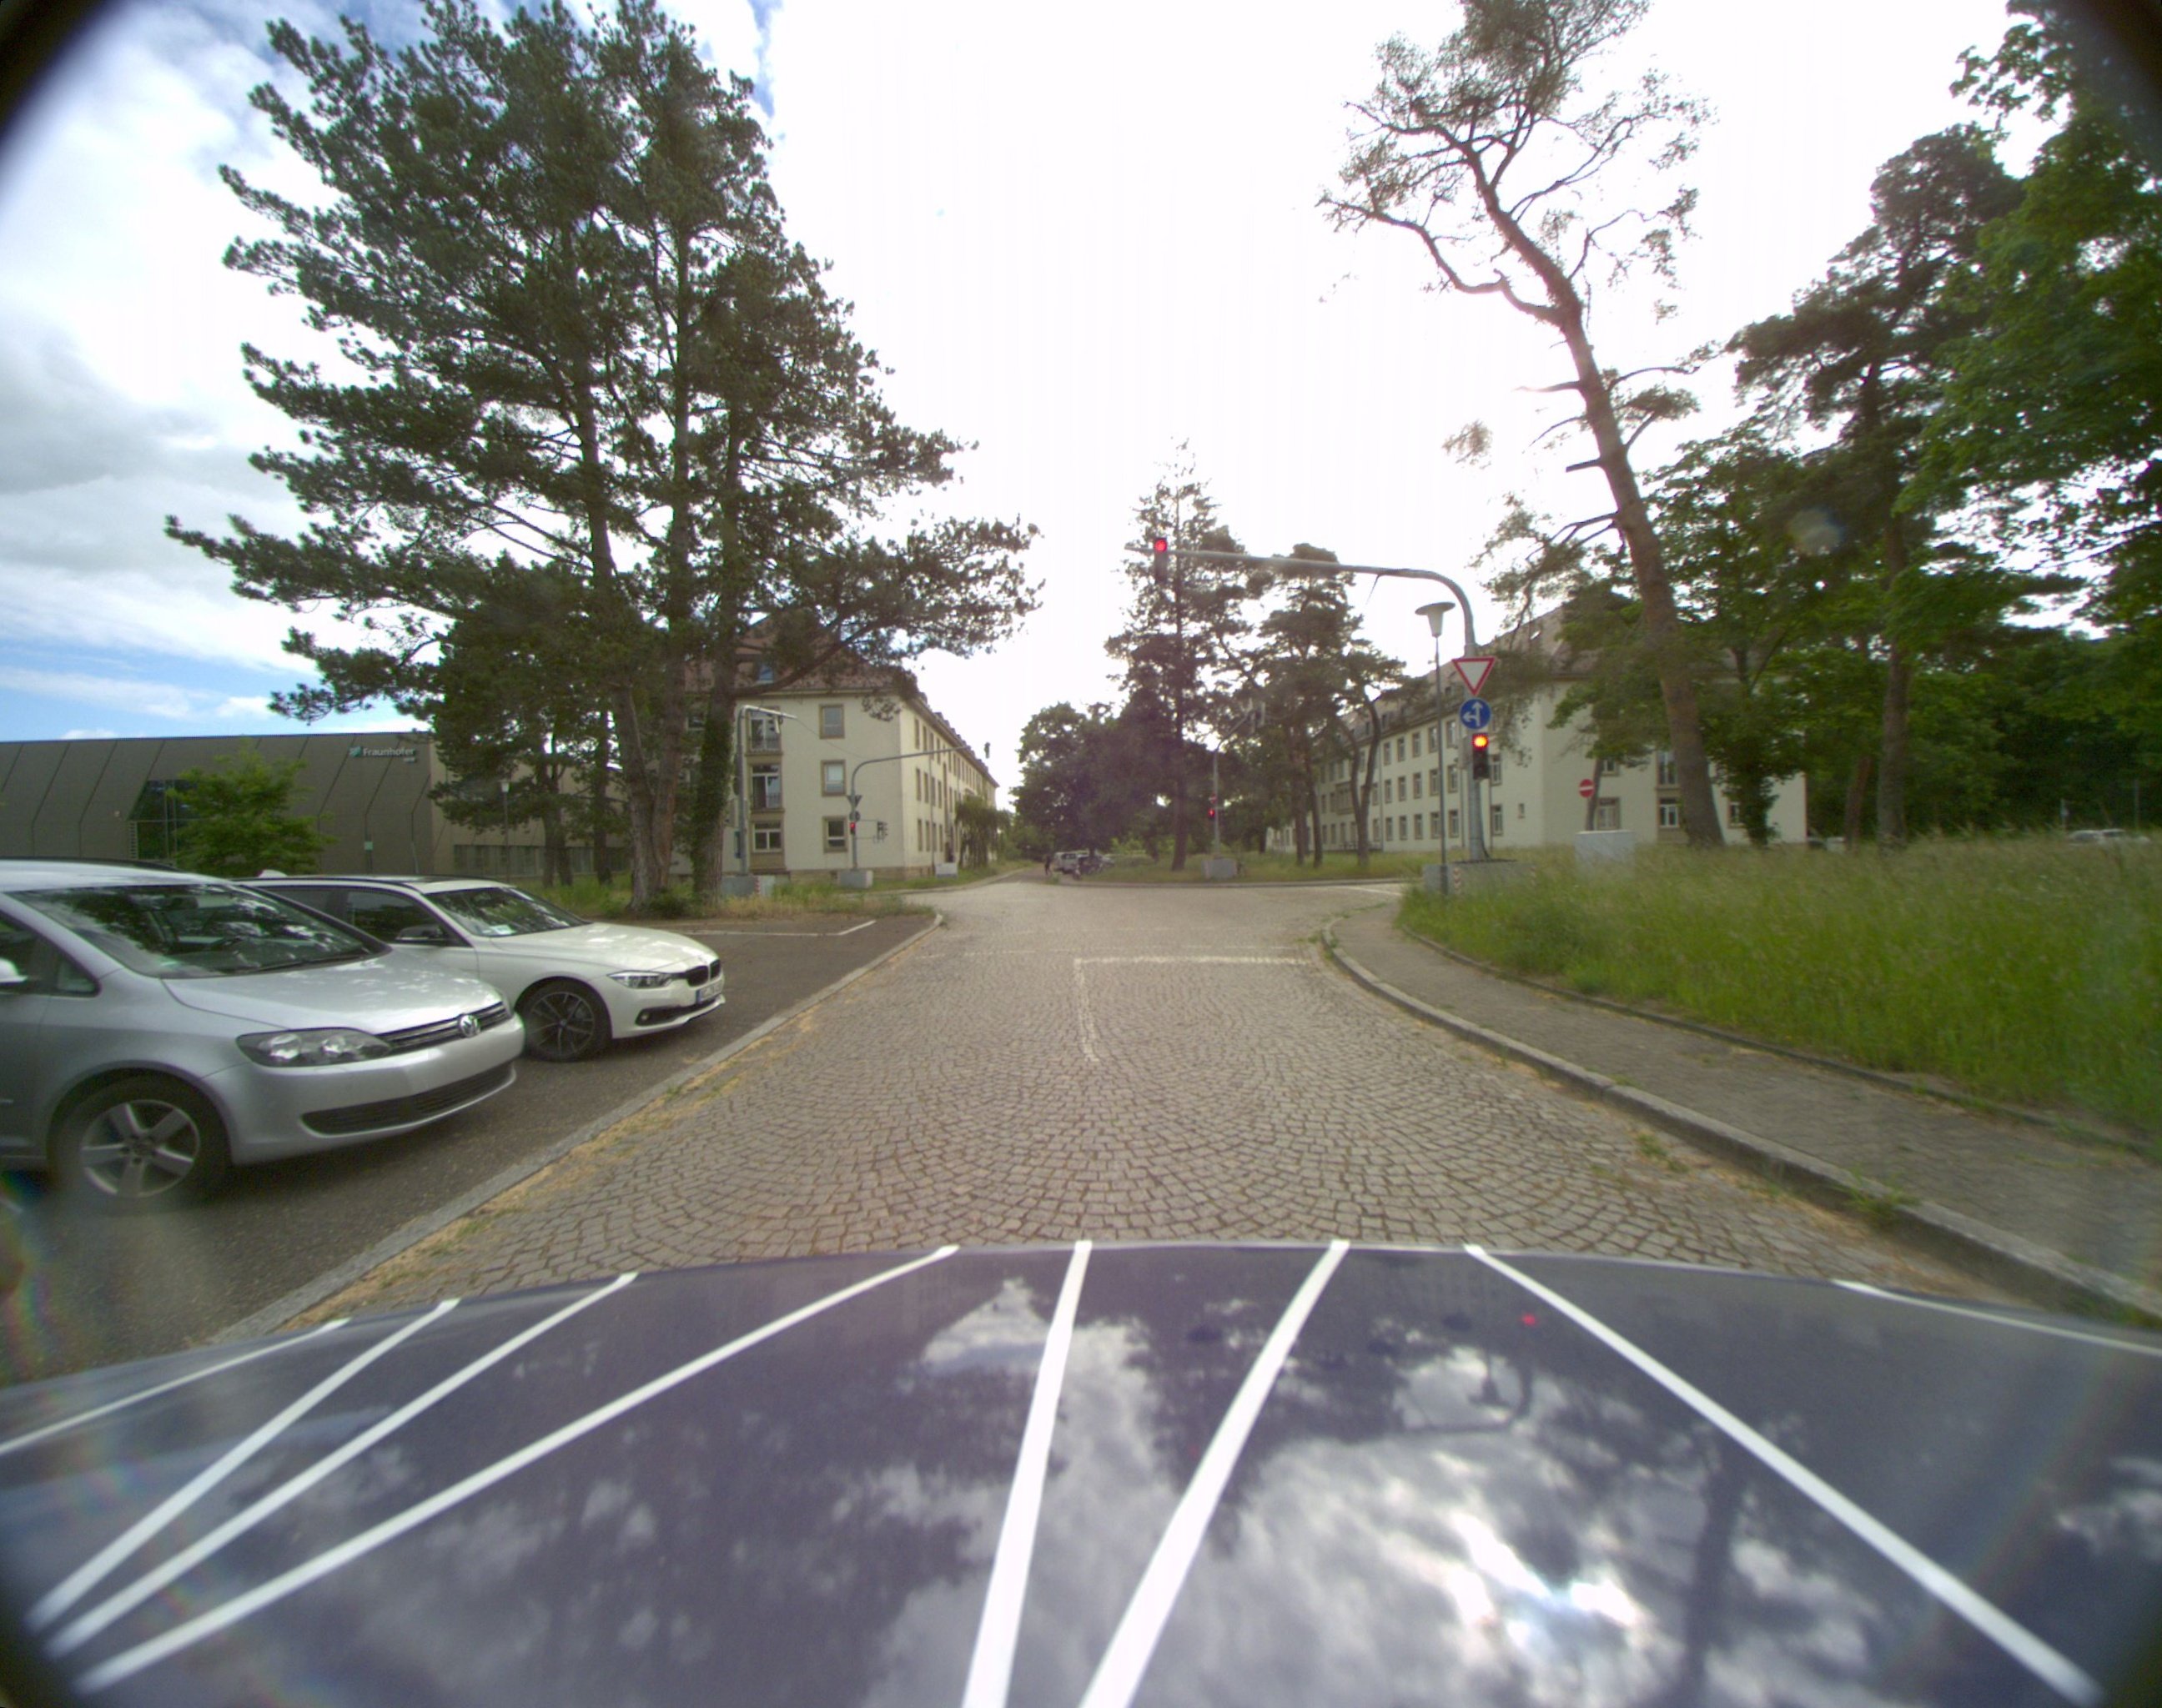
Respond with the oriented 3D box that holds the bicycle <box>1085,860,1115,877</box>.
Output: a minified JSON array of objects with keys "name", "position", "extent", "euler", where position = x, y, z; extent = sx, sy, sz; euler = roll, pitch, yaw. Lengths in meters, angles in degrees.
[{"name":"bicycle","position":[1.253,0.968,51.326],"extent":[1.951,1.059,0.562],"euler":[-2,1,-3]}]

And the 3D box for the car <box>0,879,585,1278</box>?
[{"name":"car","position":[-5.453,0.984,4.084],"extent":[4.252,1.587,1.884],"euler":[1,0,-5]}]

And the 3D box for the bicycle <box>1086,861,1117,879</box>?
[{"name":"bicycle","position":[1.292,1.014,48.528],"extent":[1.899,1.059,0.616],"euler":[-2,1,-3]}]

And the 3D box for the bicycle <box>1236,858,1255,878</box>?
[{"name":"bicycle","position":[7.799,0.669,36.067],"extent":[0.294,0.911,1.052],"euler":[-2,0,-23]}]

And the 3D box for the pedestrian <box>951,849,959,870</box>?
[{"name":"pedestrian","position":[-10.577,0.474,63.720],"extent":[0.568,1.691,0.532],"euler":[-2,1,3]}]

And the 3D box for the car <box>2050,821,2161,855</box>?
[{"name":"car","position":[57.882,-0.880,42.900],"extent":[3.996,1.796,1.722],"euler":[-2,0,2]}]

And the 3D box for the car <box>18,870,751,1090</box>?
[{"name":"car","position":[-5.561,0.981,6.634],"extent":[4.505,1.556,1.905],"euler":[1,0,-3]}]

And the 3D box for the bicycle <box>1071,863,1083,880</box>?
[{"name":"bicycle","position":[-0.251,1.061,46.898],"extent":[0.459,0.968,1.663],"euler":[-2,0,8]}]

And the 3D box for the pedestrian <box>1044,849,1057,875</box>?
[{"name":"pedestrian","position":[-2.275,0.584,56.835],"extent":[0.589,1.926,0.792],"euler":[-2,1,-34]}]

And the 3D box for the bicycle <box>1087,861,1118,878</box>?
[{"name":"bicycle","position":[1.406,0.995,49.615],"extent":[1.951,1.059,0.562],"euler":[-2,1,-3]}]

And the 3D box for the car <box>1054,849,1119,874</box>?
[{"name":"car","position":[0.440,0.619,66.941],"extent":[5.367,1.987,2.289],"euler":[-2,0,-9]}]

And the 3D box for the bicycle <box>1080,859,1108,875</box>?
[{"name":"bicycle","position":[0.957,0.929,54.518],"extent":[1.951,1.059,0.562],"euler":[-2,1,-3]}]

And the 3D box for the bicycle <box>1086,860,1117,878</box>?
[{"name":"bicycle","position":[1.335,0.981,49.084],"extent":[1.951,1.104,0.562],"euler":[-2,1,-3]}]

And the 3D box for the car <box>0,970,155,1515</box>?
[{"name":"car","position":[-4.969,1.058,1.377],"extent":[4.085,1.444,1.884],"euler":[1,0,-3]}]

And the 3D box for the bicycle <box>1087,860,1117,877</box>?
[{"name":"bicycle","position":[1.382,0.978,50.747],"extent":[1.951,1.059,0.562],"euler":[-2,1,-3]}]

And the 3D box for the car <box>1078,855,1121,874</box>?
[{"name":"car","position":[1.491,0.851,63.328],"extent":[3.440,1.440,1.913],"euler":[-2,0,-3]}]

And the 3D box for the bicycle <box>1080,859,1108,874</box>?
[{"name":"bicycle","position":[0.952,0.919,55.118],"extent":[1.951,1.059,0.562],"euler":[-2,1,-3]}]

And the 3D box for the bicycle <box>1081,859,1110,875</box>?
[{"name":"bicycle","position":[1.017,0.937,53.842],"extent":[1.951,1.059,0.562],"euler":[-2,1,-3]}]

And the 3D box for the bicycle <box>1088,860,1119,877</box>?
[{"name":"bicycle","position":[1.478,0.984,50.264],"extent":[1.951,1.059,0.562],"euler":[-2,1,-3]}]

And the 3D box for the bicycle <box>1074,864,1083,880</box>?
[{"name":"bicycle","position":[-0.130,1.069,45.079],"extent":[0.459,0.903,1.663],"euler":[-2,0,3]}]
